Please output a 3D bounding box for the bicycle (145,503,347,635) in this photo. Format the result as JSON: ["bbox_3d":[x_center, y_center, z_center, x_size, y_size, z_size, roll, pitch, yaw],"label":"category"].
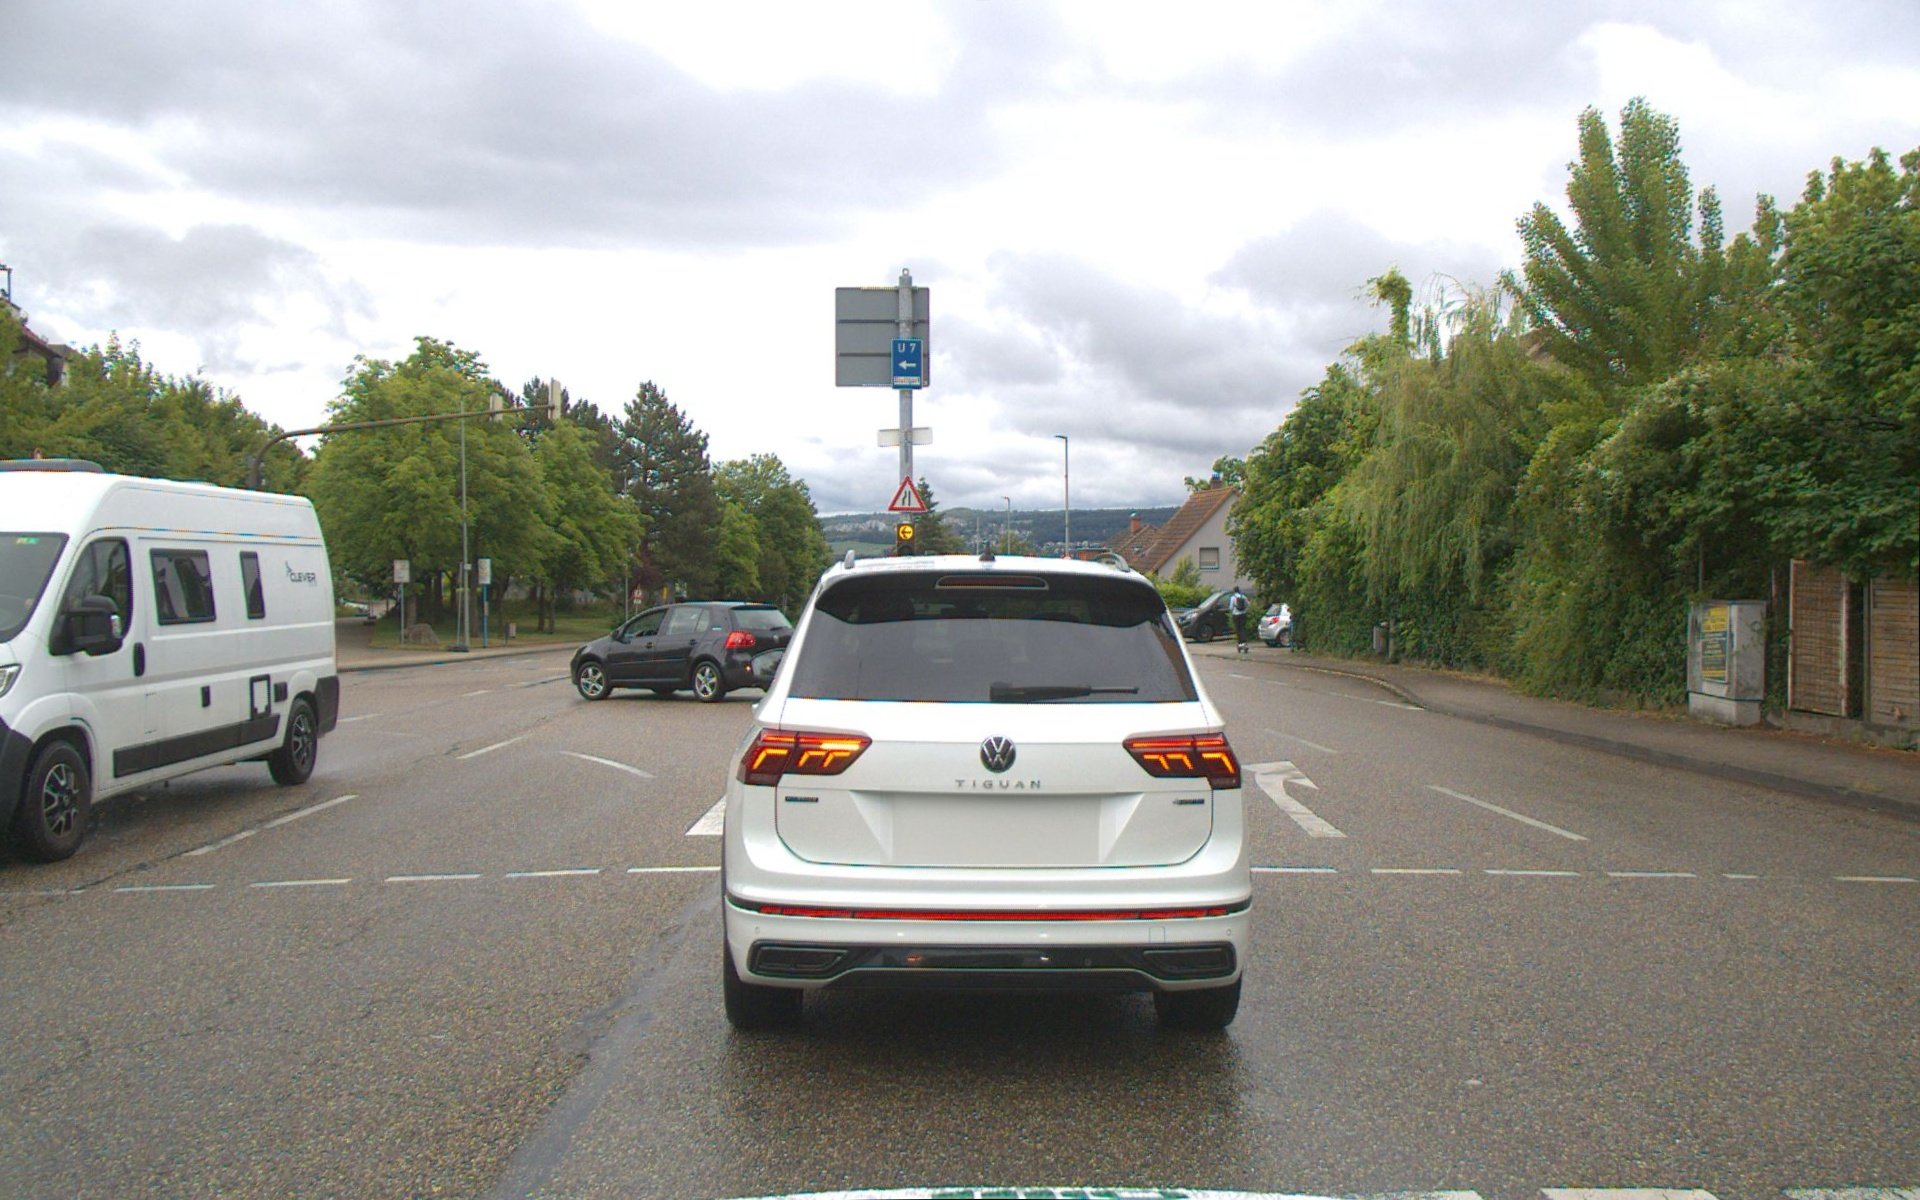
[{"bbox_3d":[-6.561,-0.288,15.235,1.603,1.145,0.468,-2,1,-3],"label":"bicycle"}]

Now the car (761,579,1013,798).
[{"bbox_3d":[-0.485,0.656,14.252,1.761,1.617,3.928,-1,0,3],"label":"car"}]

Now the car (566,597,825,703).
[{"bbox_3d":[-4.163,0.739,25.812,3.920,1.505,1.759,-1,0,36],"label":"car"}]

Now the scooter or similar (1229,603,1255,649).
[{"bbox_3d":[8.649,0.778,50.767,0.452,1.385,1.383,0,0,-4],"label":"scooter or similar"}]

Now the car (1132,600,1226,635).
[{"bbox_3d":[8.960,0.729,67.774,3.613,1.394,1.518,1,-2,-3],"label":"car"}]

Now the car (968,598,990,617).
[{"bbox_3d":[1.623,0.605,144.097,1.813,1.602,3.999,-1,0,-1],"label":"car"}]

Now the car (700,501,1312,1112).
[{"bbox_3d":[0.078,0.596,6.937,1.727,1.725,4.271,2,0,-2],"label":"car"}]

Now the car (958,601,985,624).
[{"bbox_3d":[0.815,0.882,118.488,1.813,1.602,4.000,-1,0,-1],"label":"car"}]

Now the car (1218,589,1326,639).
[{"bbox_3d":[11.391,0.493,60.499,3.556,1.777,1.706,-1,1,-5],"label":"car"}]

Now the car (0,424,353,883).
[{"bbox_3d":[-6.577,0.319,12.092,2.251,2.572,5.771,-2,0,-2],"label":"car"}]

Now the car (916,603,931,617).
[{"bbox_3d":[-4.392,1.207,200.220,1.813,1.602,3.999,-1,0,-1],"label":"car"}]

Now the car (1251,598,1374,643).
[{"bbox_3d":[11.757,0.687,55.200,3.644,1.420,1.725,-1,-1,-8],"label":"car"}]

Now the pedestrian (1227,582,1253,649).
[{"bbox_3d":[8.597,0.461,50.803,0.642,2.037,0.717,0,0,-4],"label":"pedestrian"}]

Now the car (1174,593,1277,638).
[{"bbox_3d":[10.058,0.583,62.850,3.556,1.655,1.789,0,-1,-5],"label":"car"}]
